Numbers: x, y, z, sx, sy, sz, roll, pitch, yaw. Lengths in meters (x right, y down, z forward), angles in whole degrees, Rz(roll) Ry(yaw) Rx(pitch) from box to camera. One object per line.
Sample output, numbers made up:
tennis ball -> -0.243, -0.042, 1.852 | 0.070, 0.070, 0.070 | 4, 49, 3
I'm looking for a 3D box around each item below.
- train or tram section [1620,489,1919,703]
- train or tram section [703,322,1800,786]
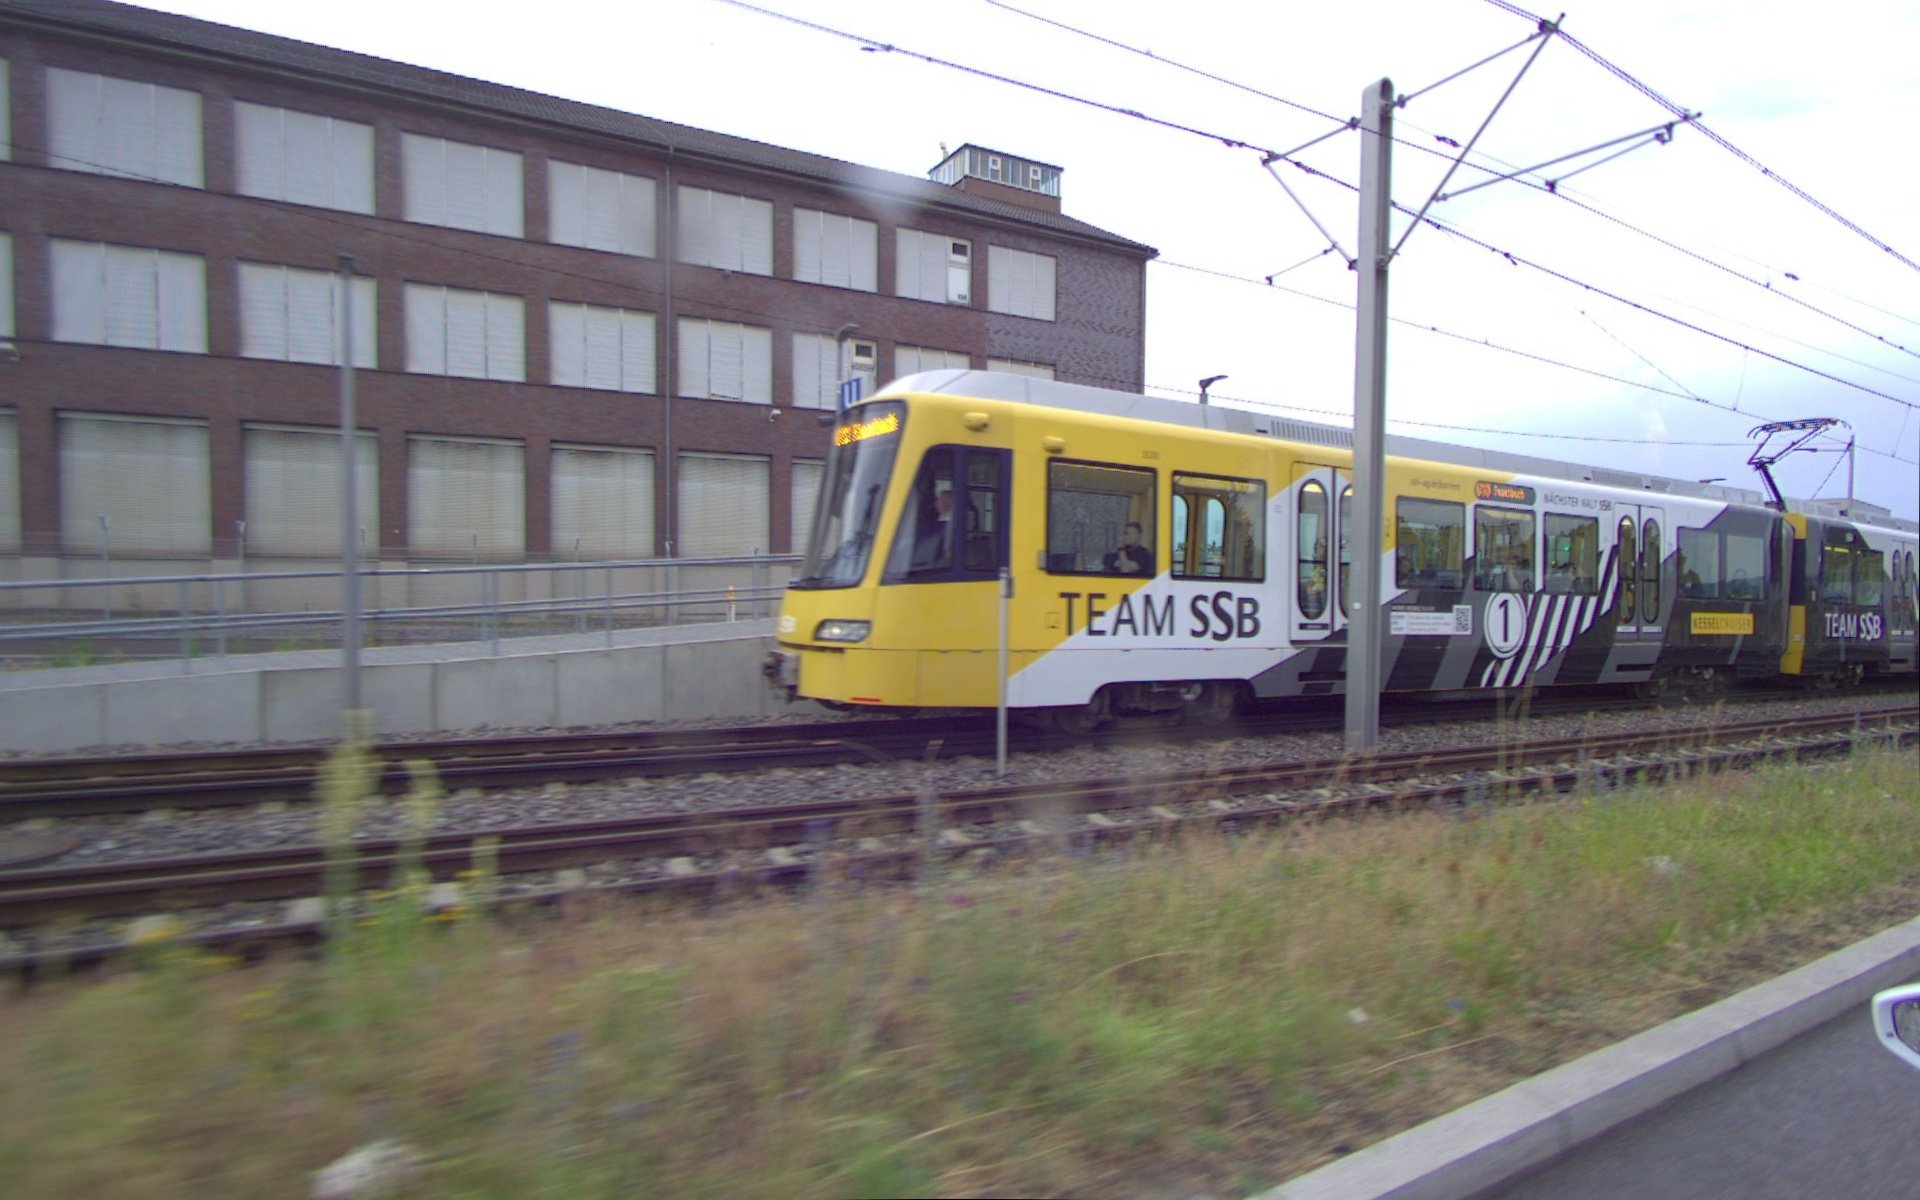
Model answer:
train or tram section -> 22.705, 0.052, 24.680 | 19.072, 3.938, 2.939 | 1, 1, -32
train or tram section -> 6.251, -0.252, 14.743 | 19.344, 3.938, 2.940 | 1, 1, -31
